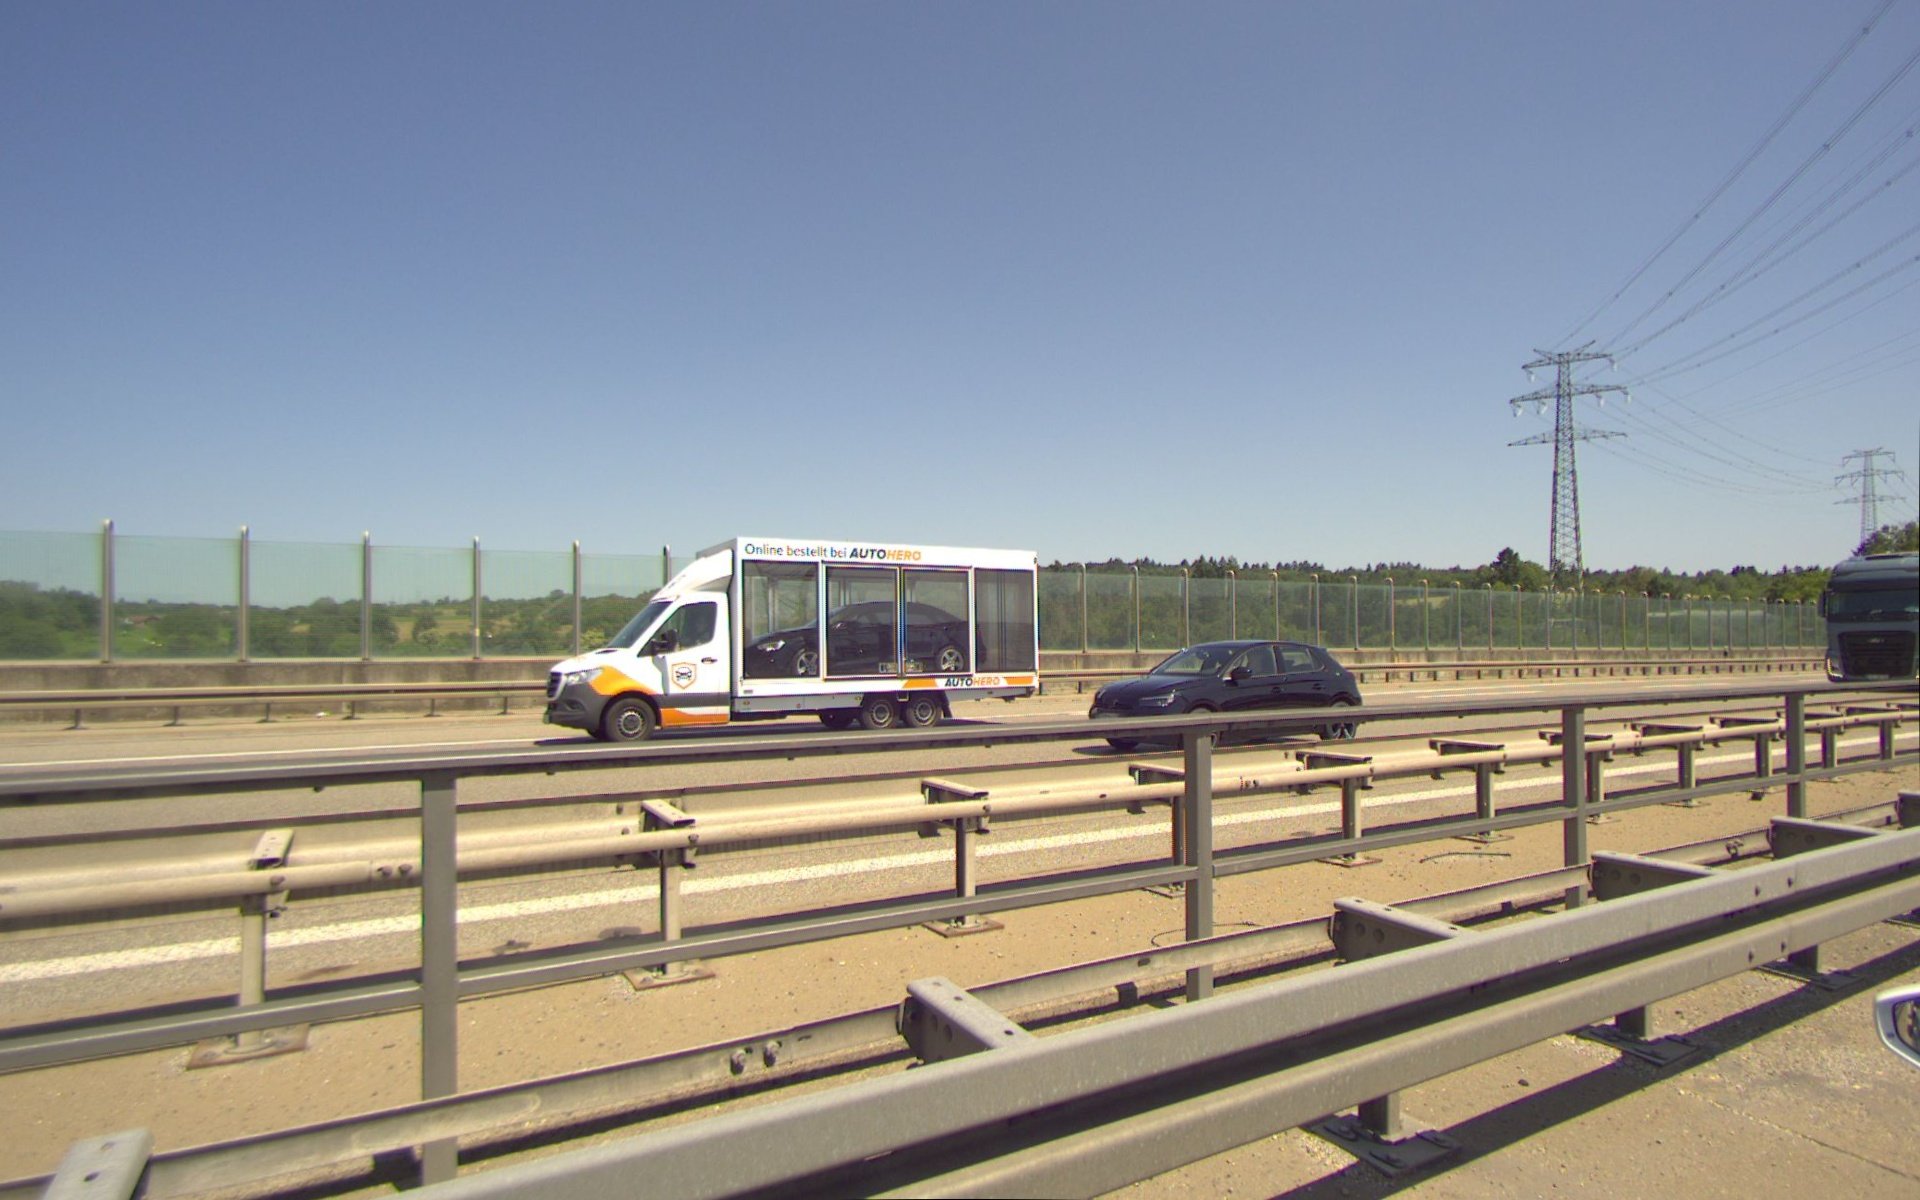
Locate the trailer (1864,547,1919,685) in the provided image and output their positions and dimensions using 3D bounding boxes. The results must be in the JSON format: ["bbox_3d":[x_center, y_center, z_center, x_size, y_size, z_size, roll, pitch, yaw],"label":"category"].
[{"bbox_3d":[34.646,0.660,33.910,11.911,4.220,2.691,2,-3,-31],"label":"trailer"}]

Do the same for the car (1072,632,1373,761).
[{"bbox_3d":[3.576,1.230,13.592,3.807,1.518,1.789,2,-3,-30],"label":"car"}]

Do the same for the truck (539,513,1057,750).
[{"bbox_3d":[-2.463,0.616,16.836,8.196,3.229,2.552,2,-4,-30],"label":"truck"}]

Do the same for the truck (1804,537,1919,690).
[{"bbox_3d":[28.347,0.486,30.113,6.192,4.170,2.740,2,-2,-31],"label":"truck"}]
